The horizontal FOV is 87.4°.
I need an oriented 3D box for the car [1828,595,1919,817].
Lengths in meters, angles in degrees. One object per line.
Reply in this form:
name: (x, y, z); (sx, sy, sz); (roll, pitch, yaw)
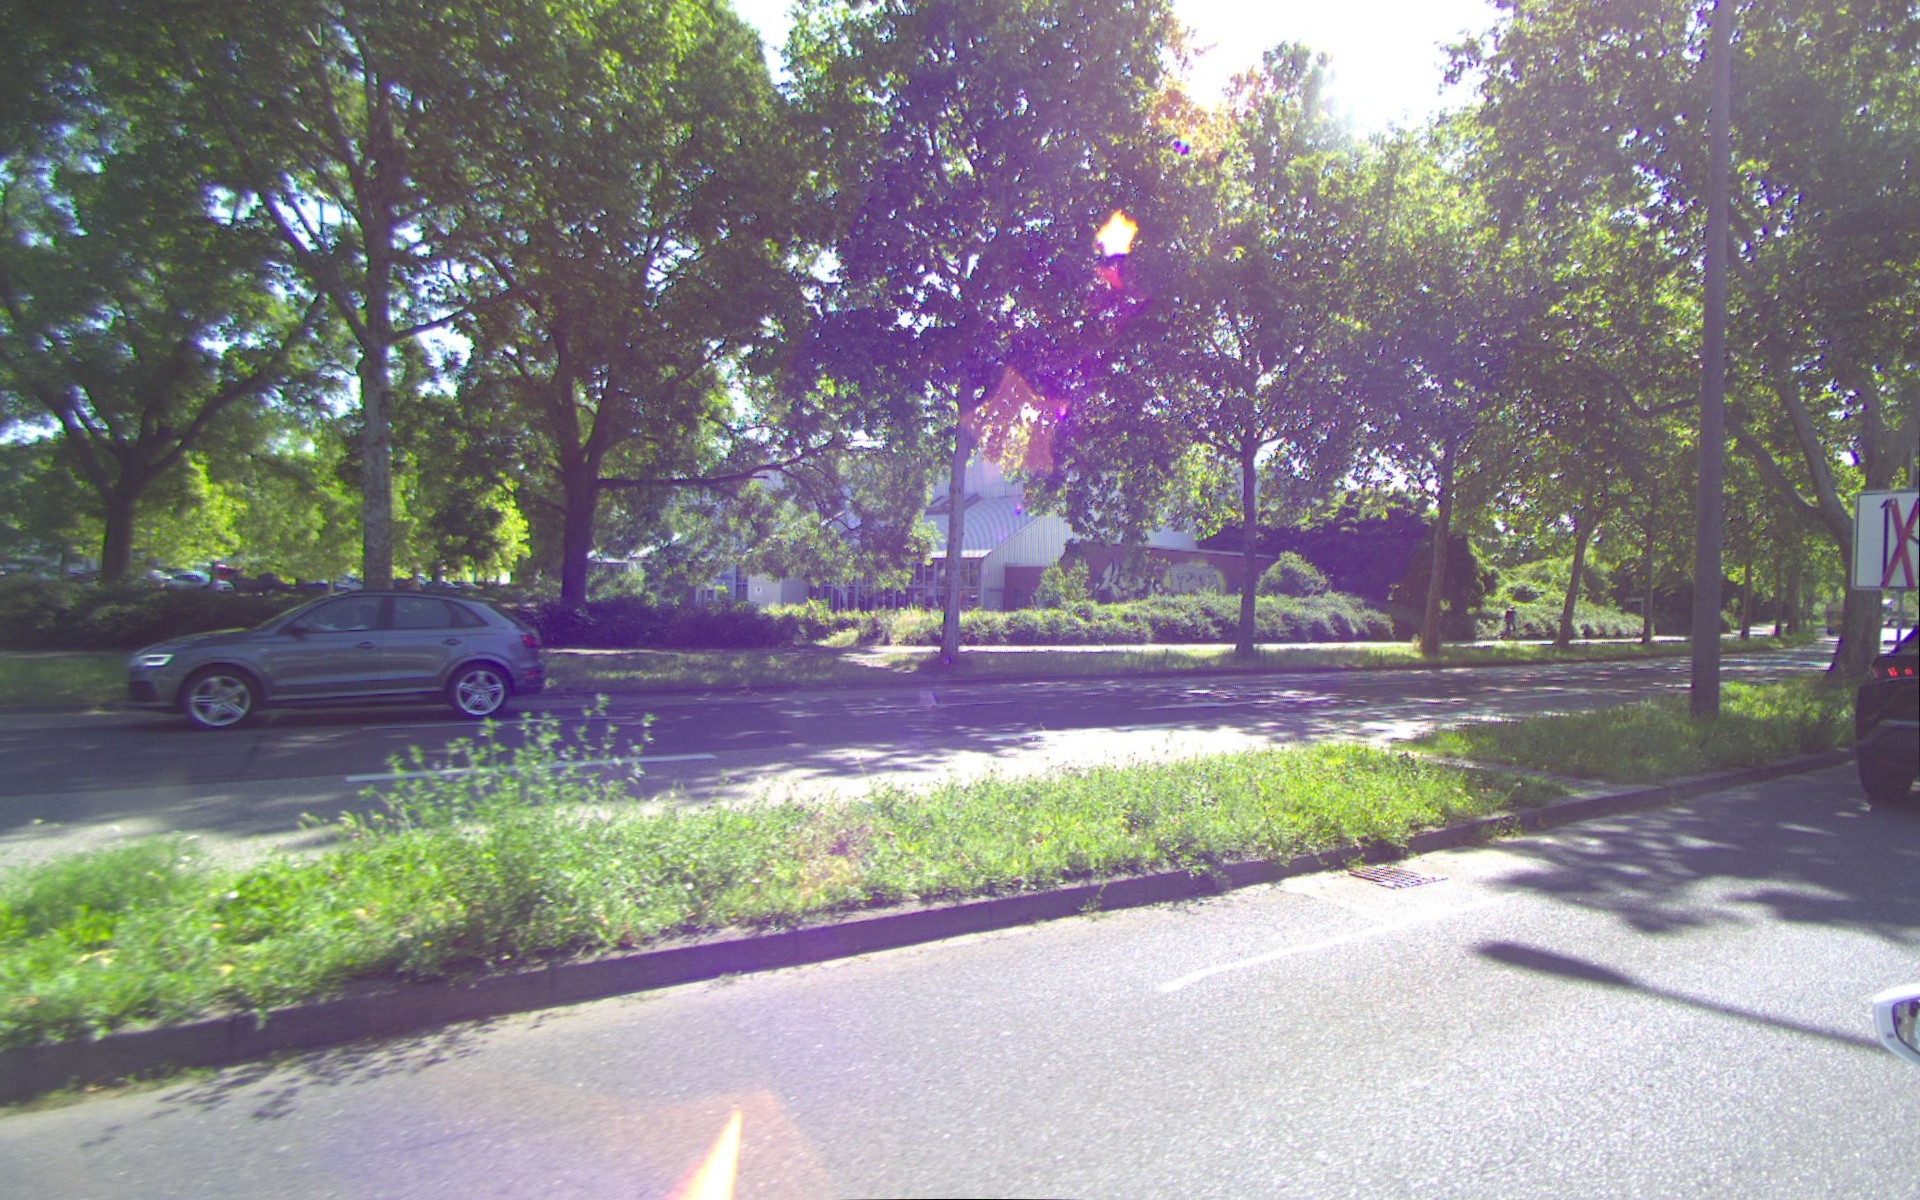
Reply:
car: (9.478, 0.854, 8.699); (4.388, 1.719, 1.861); (1, -1, -33)

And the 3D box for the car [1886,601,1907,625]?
car: (138.886, 1.881, 148.975); (2.037, 3.480, 6.725); (1, 0, 45)

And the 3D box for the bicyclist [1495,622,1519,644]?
bicyclist: (25.632, 1.533, 47.080); (1.411, 1.027, 0.425); (1, 0, -36)

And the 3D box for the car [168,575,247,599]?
car: (-50.464, -0.866, 67.380); (3.920, 1.511, 1.818); (1, 0, 2)

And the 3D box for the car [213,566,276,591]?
car: (-56.855, -1.679, 79.861); (3.849, 1.863, 1.771); (2, 0, 6)

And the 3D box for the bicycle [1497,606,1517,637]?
bicycle: (25.618, 1.011, 47.058); (0.945, 1.403, 0.425); (1, 0, -36)

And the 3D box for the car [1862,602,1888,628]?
car: (129.830, 2.098, 142.556); (2.424, 3.496, 7.055); (4, 3, 44)

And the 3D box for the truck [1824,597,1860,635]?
truck: (87.641, 1.559, 99.806); (2.423, 3.496, 7.060); (4, 3, 42)

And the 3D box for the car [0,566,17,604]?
car: (-53.549, -0.867, 54.135); (3.919, 2.040, 1.818); (1, 0, 5)

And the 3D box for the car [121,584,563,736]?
car: (-7.381, 0.675, 12.406); (4.350, 1.577, 1.784); (1, -1, -34)
